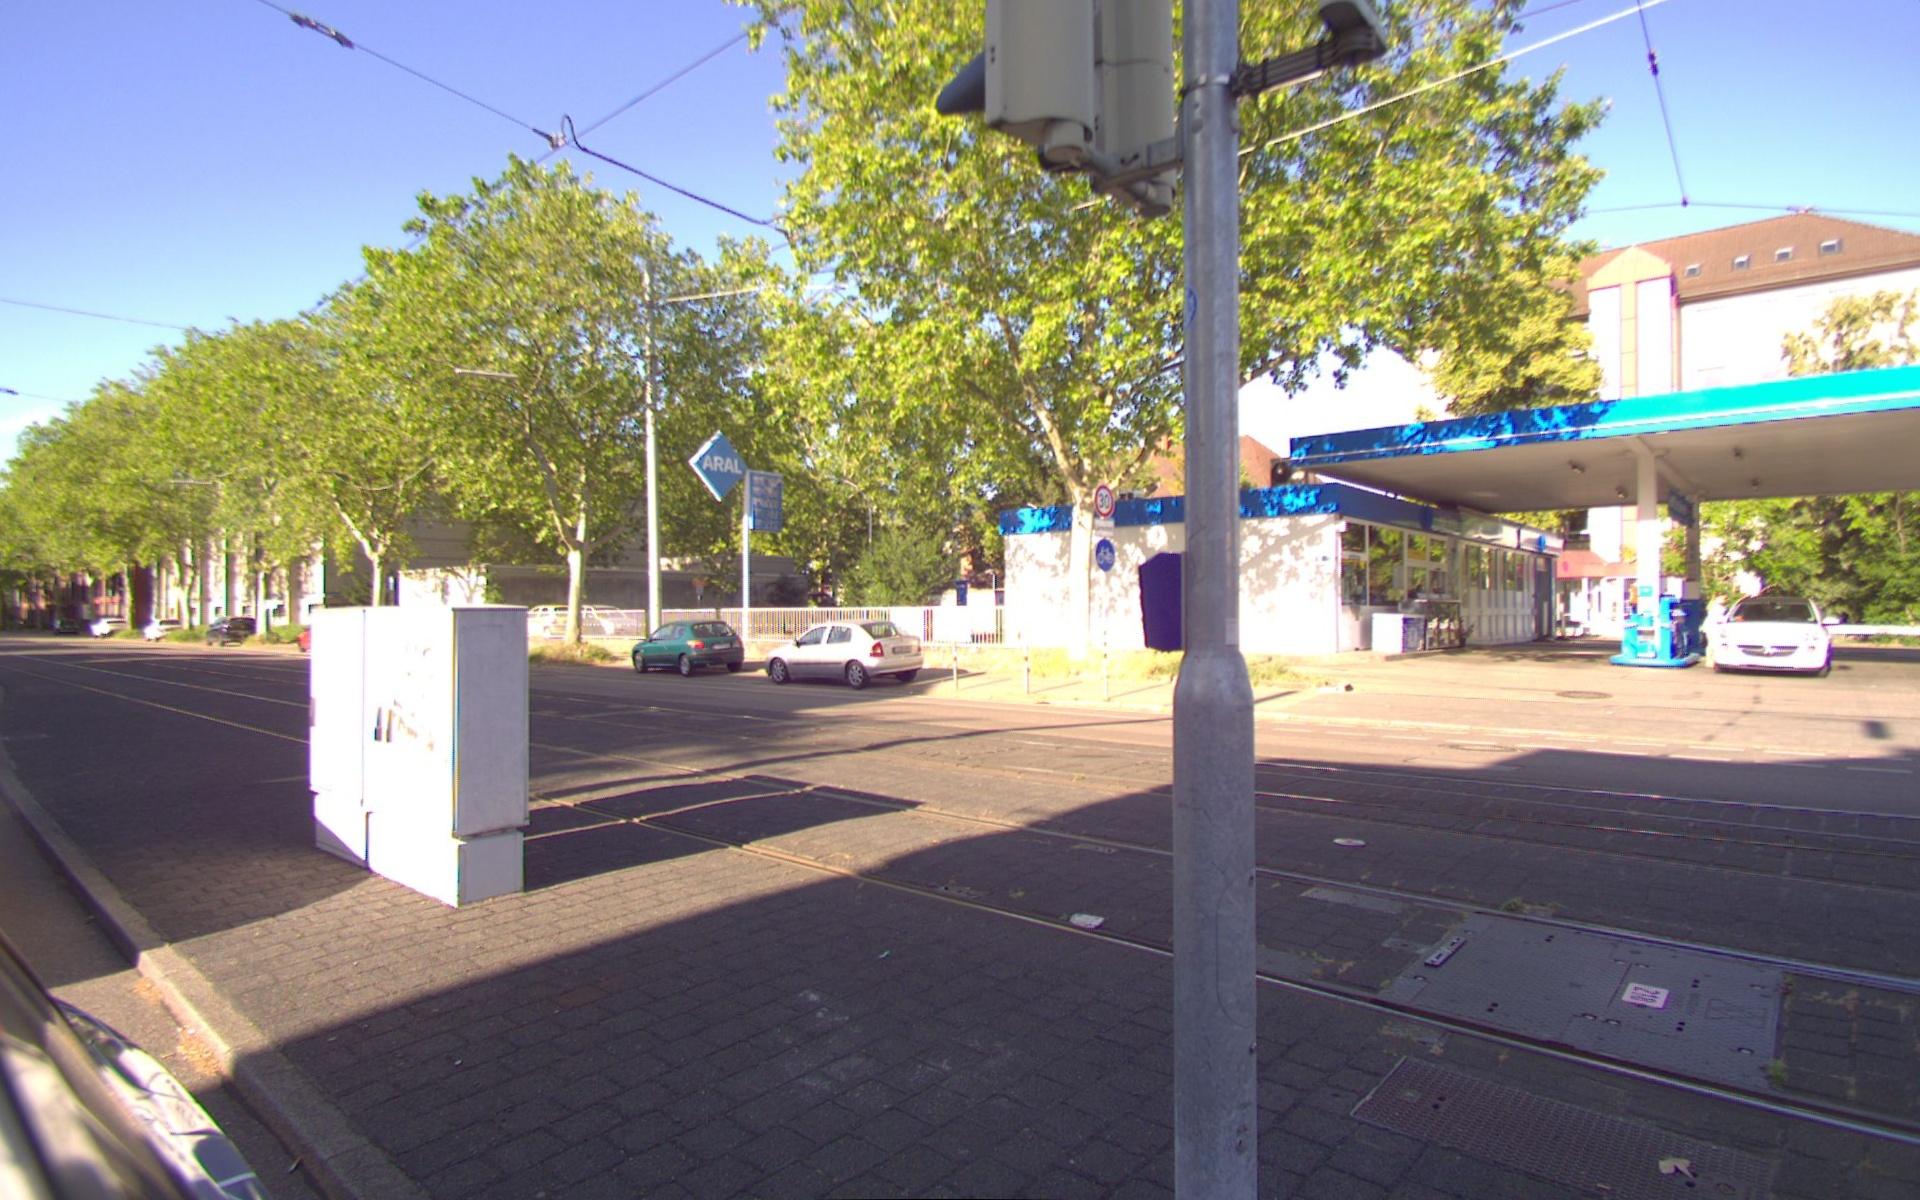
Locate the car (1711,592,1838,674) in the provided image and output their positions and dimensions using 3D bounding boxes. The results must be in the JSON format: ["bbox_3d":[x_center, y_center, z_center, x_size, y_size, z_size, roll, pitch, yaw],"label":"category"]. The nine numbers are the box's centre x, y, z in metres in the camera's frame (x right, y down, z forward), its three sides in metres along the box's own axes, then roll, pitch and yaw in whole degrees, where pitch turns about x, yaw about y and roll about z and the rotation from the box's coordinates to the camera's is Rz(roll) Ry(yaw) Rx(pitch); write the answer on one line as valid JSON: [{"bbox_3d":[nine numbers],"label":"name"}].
[{"bbox_3d":[15.887,0.611,19.679,1.757,1.453,3.521,-1,-1,41],"label":"car"}]

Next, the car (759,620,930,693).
[{"bbox_3d":[-2.635,1.205,22.624,3.812,1.413,1.674,-1,1,41],"label":"car"}]

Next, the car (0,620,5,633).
[{"bbox_3d":[-133.938,3.680,140.443,3.748,1.798,1.674,-1,1,41],"label":"car"}]

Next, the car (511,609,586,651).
[{"bbox_3d":[-17.085,1.231,41.951,3.303,1.628,1.579,-1,0,41],"label":"car"}]

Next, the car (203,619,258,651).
[{"bbox_3d":[-40.678,1.940,56.432,3.748,1.670,1.674,-1,1,41],"label":"car"}]

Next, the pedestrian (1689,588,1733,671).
[{"bbox_3d":[15.975,0.622,21.530,0.493,1.714,0.649,1,-2,-45],"label":"pedestrian"}]

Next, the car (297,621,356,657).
[{"bbox_3d":[-28.687,1.756,45.809,2.621,1.519,1.579,-1,1,41],"label":"car"}]

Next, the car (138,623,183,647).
[{"bbox_3d":[-53.864,2.343,68.156,3.748,1.459,1.674,-1,1,41],"label":"car"}]

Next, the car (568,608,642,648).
[{"bbox_3d":[-15.266,1.196,43.428,3.303,1.604,1.579,-1,0,41],"label":"car"}]

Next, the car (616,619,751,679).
[{"bbox_3d":[-7.400,1.266,26.952,3.748,1.413,1.674,-1,1,41],"label":"car"}]

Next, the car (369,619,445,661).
[{"bbox_3d":[-21.877,1.558,39.982,3.303,1.519,1.579,-1,1,41],"label":"car"}]

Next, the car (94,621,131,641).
[{"bbox_3d":[-66.682,2.447,79.583,3.748,1.459,1.674,-1,1,41],"label":"car"}]

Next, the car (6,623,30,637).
[{"bbox_3d":[-112.145,3.565,120.477,3.748,1.459,1.674,-1,1,41],"label":"car"}]

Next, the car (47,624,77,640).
[{"bbox_3d":[-85.244,3.031,96.019,3.748,1.459,1.674,-1,1,41],"label":"car"}]
